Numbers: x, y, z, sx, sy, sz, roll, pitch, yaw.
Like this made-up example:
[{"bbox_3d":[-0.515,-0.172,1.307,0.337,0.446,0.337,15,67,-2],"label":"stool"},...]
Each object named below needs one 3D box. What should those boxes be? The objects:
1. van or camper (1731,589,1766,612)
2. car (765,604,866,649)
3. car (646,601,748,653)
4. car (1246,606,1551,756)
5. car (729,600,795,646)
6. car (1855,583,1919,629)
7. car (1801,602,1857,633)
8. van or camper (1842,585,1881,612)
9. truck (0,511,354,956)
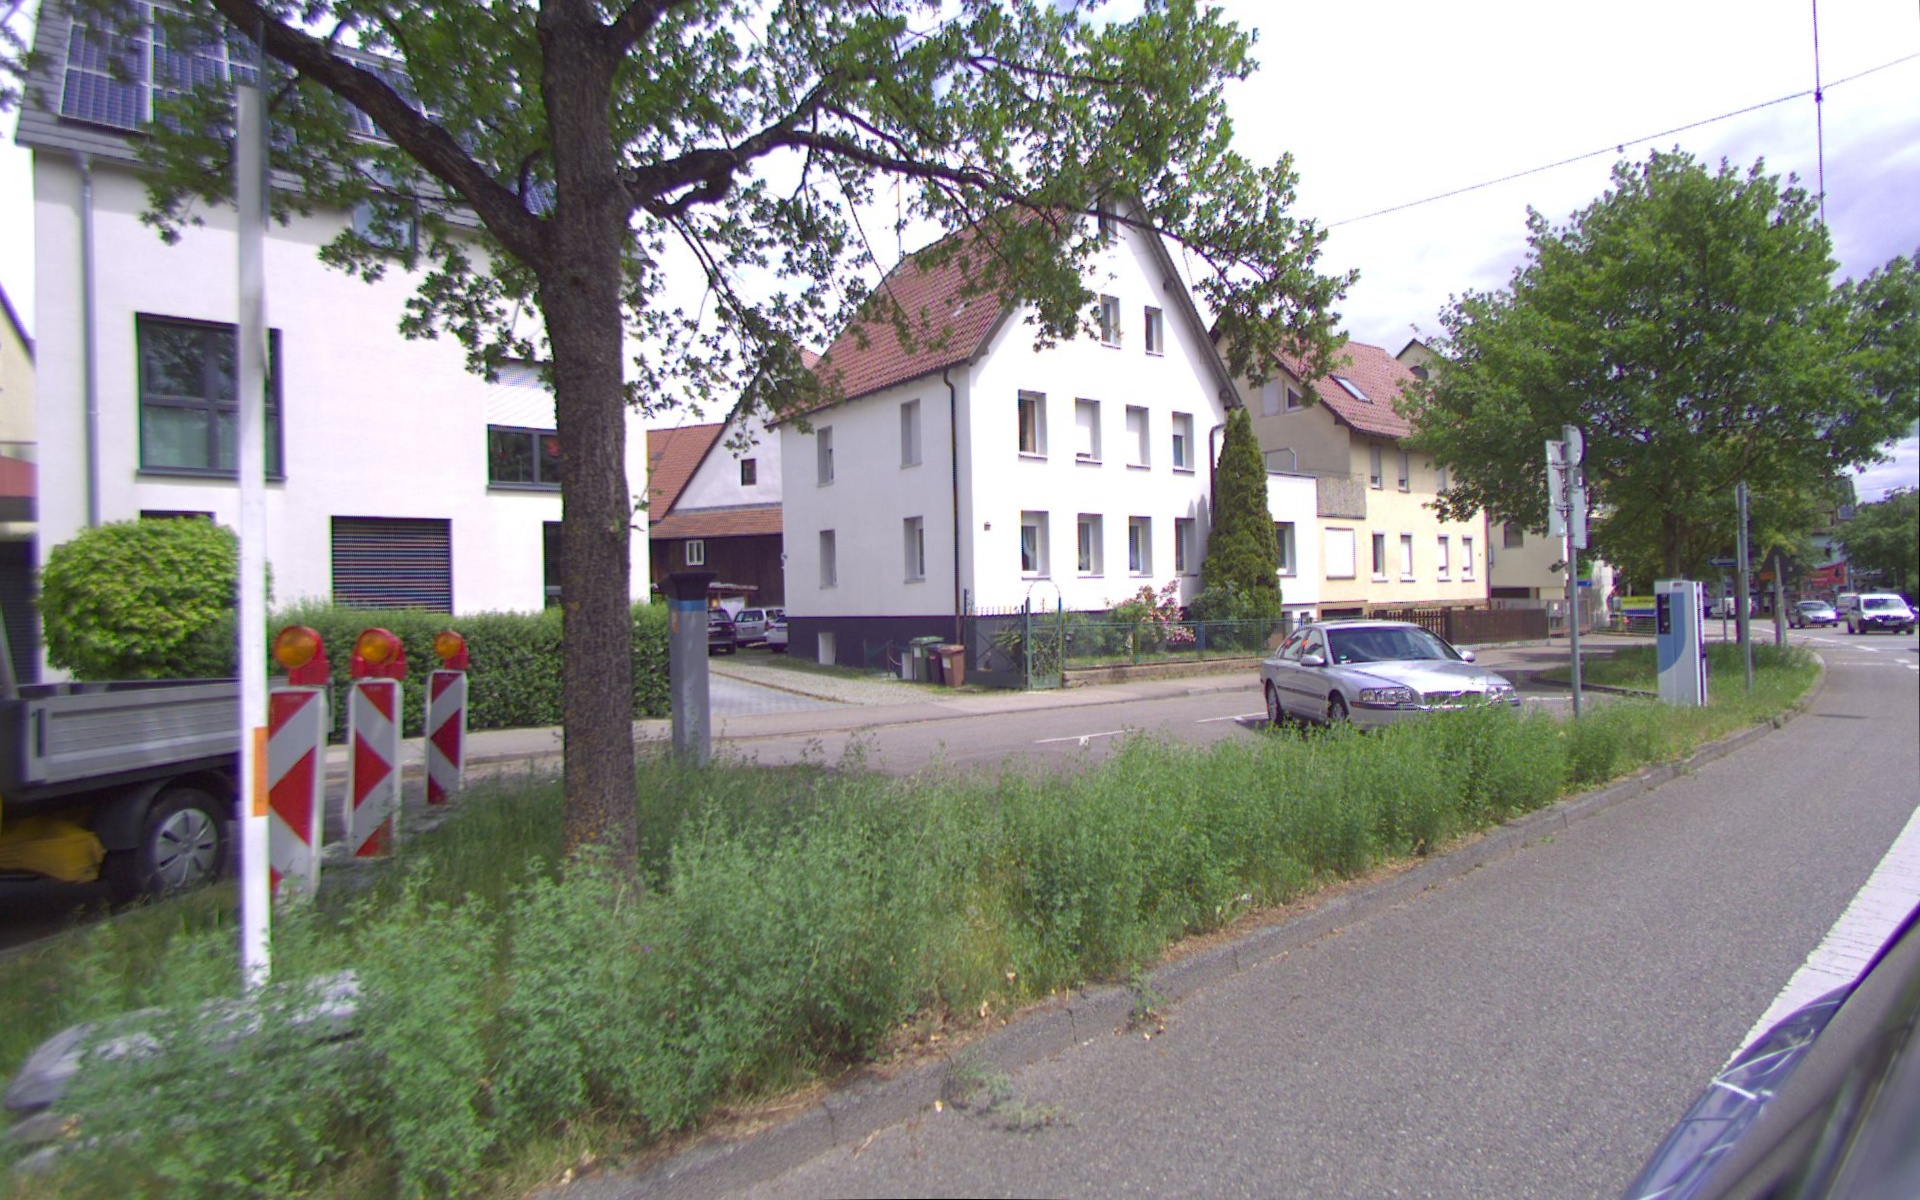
[{"bbox_3d":[63.521,0.033,81.569,1.853,1.799,4.328,-2,-1,33],"label":"van or camper"},{"bbox_3d":[-4.924,0.882,34.919,1.574,1.426,3.665,-1,0,28],"label":"car"},{"bbox_3d":[-8.993,0.888,34.398,1.963,1.661,3.996,0,-1,-38],"label":"car"},{"bbox_3d":[5.127,0.875,12.659,1.735,1.470,4.687,-2,-1,0],"label":"car"},{"bbox_3d":[-7.287,0.812,37.509,1.426,1.544,3.358,2,0,7],"label":"car"},{"bbox_3d":[41.378,0.232,44.812,1.839,1.839,3.954,-5,-2,32],"label":"car"},{"bbox_3d":[48.548,0.954,56.585,1.681,1.505,3.955,-5,-2,32],"label":"car"},{"bbox_3d":[76.237,-0.151,85.644,1.782,2.116,3.766,-5,-2,33],"label":"van or camper"},{"bbox_3d":[-5.427,0.660,4.313,1.964,2.039,5.671,-4,-1,4],"label":"truck"}]
